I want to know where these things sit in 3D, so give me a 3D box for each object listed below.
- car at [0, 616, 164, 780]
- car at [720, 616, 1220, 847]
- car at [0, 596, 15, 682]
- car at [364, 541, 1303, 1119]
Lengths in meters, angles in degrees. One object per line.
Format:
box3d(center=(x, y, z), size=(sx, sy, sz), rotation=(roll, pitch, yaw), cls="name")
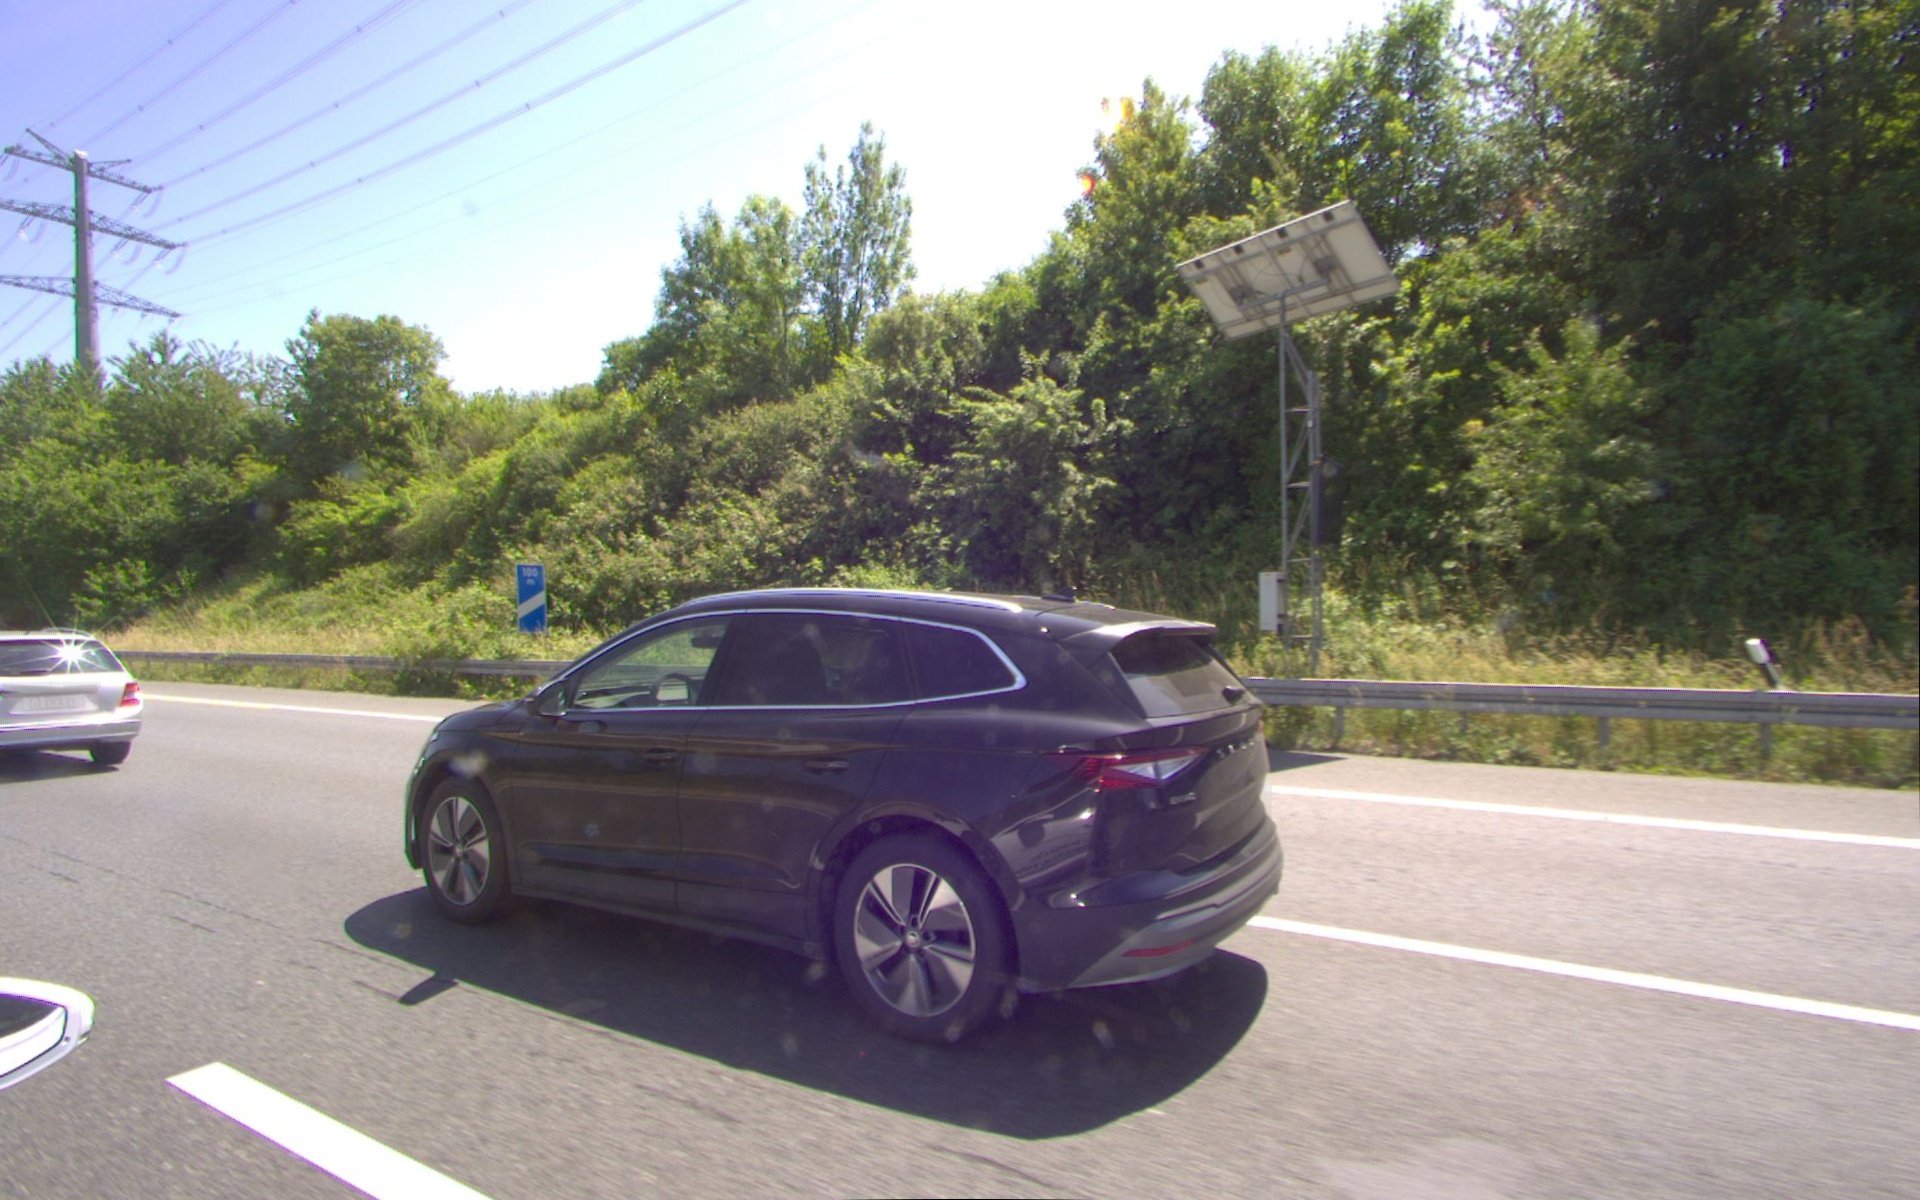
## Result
box3d(center=(-10.635, 0.977, 10.870), size=(4.297, 1.537, 1.768), rotation=(-1, -2, 32), cls="car")
box3d(center=(0.009, 0.899, 8.102), size=(3.734, 1.466, 1.698), rotation=(-1, -2, 32), cls="car")
box3d(center=(-24.774, 0.949, 24.278), size=(4.168, 2.039, 1.794), rotation=(-1, -2, 33), cls="car")
box3d(center=(-0.796, 0.734, 4.789), size=(4.365, 1.676, 1.698), rotation=(-1, -2, 32), cls="car")
